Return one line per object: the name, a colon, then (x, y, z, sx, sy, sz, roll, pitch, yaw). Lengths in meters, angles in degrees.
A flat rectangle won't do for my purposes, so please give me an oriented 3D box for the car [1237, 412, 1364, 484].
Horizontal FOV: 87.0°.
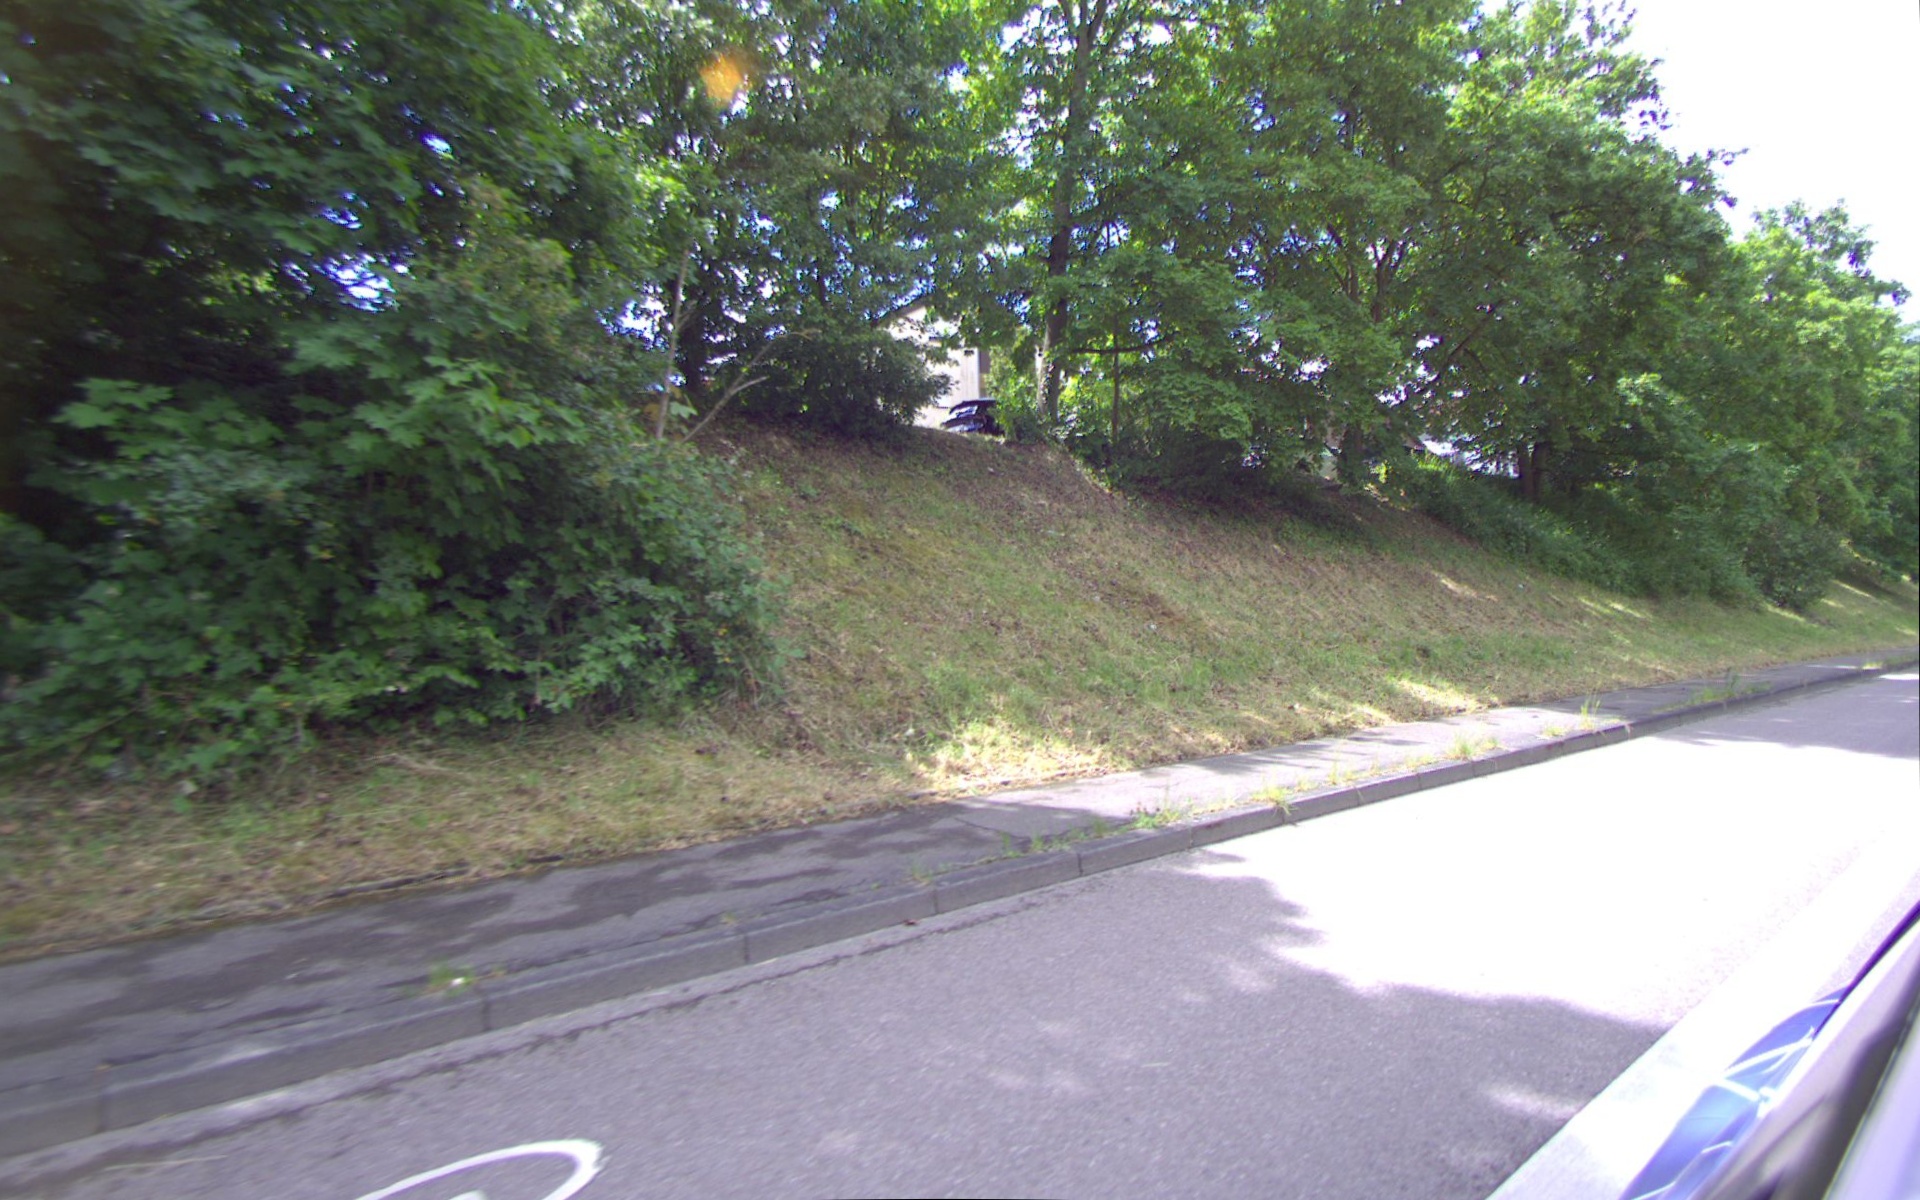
car: (9.875, -4.309, 29.202, 3.928, 1.517, 1.777, 0, 0, -42)
